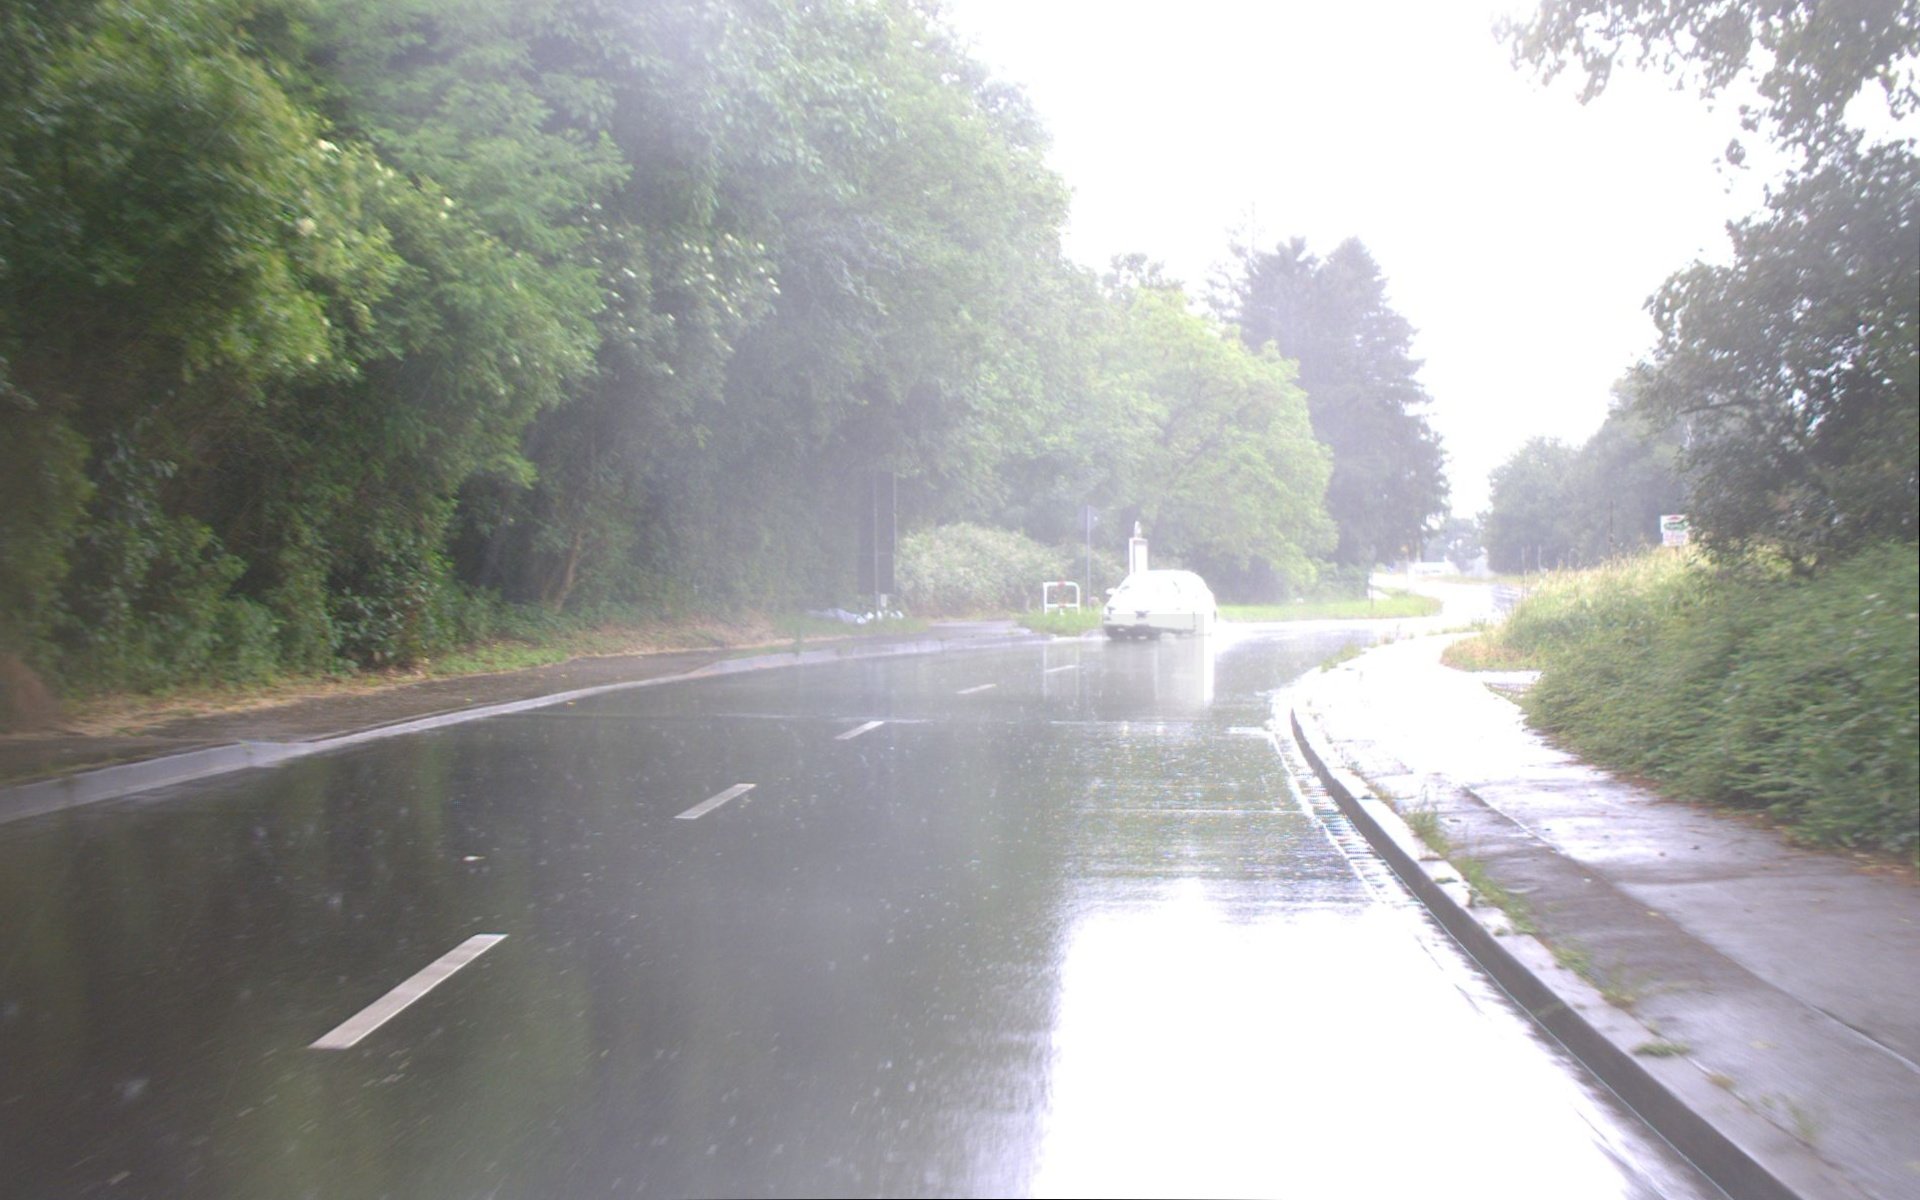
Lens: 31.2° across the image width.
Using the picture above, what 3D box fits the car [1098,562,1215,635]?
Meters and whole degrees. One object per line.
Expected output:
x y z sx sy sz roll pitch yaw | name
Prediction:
4.017 -0.059 69.565 1.787 1.414 4.632 1 1 11 | car
